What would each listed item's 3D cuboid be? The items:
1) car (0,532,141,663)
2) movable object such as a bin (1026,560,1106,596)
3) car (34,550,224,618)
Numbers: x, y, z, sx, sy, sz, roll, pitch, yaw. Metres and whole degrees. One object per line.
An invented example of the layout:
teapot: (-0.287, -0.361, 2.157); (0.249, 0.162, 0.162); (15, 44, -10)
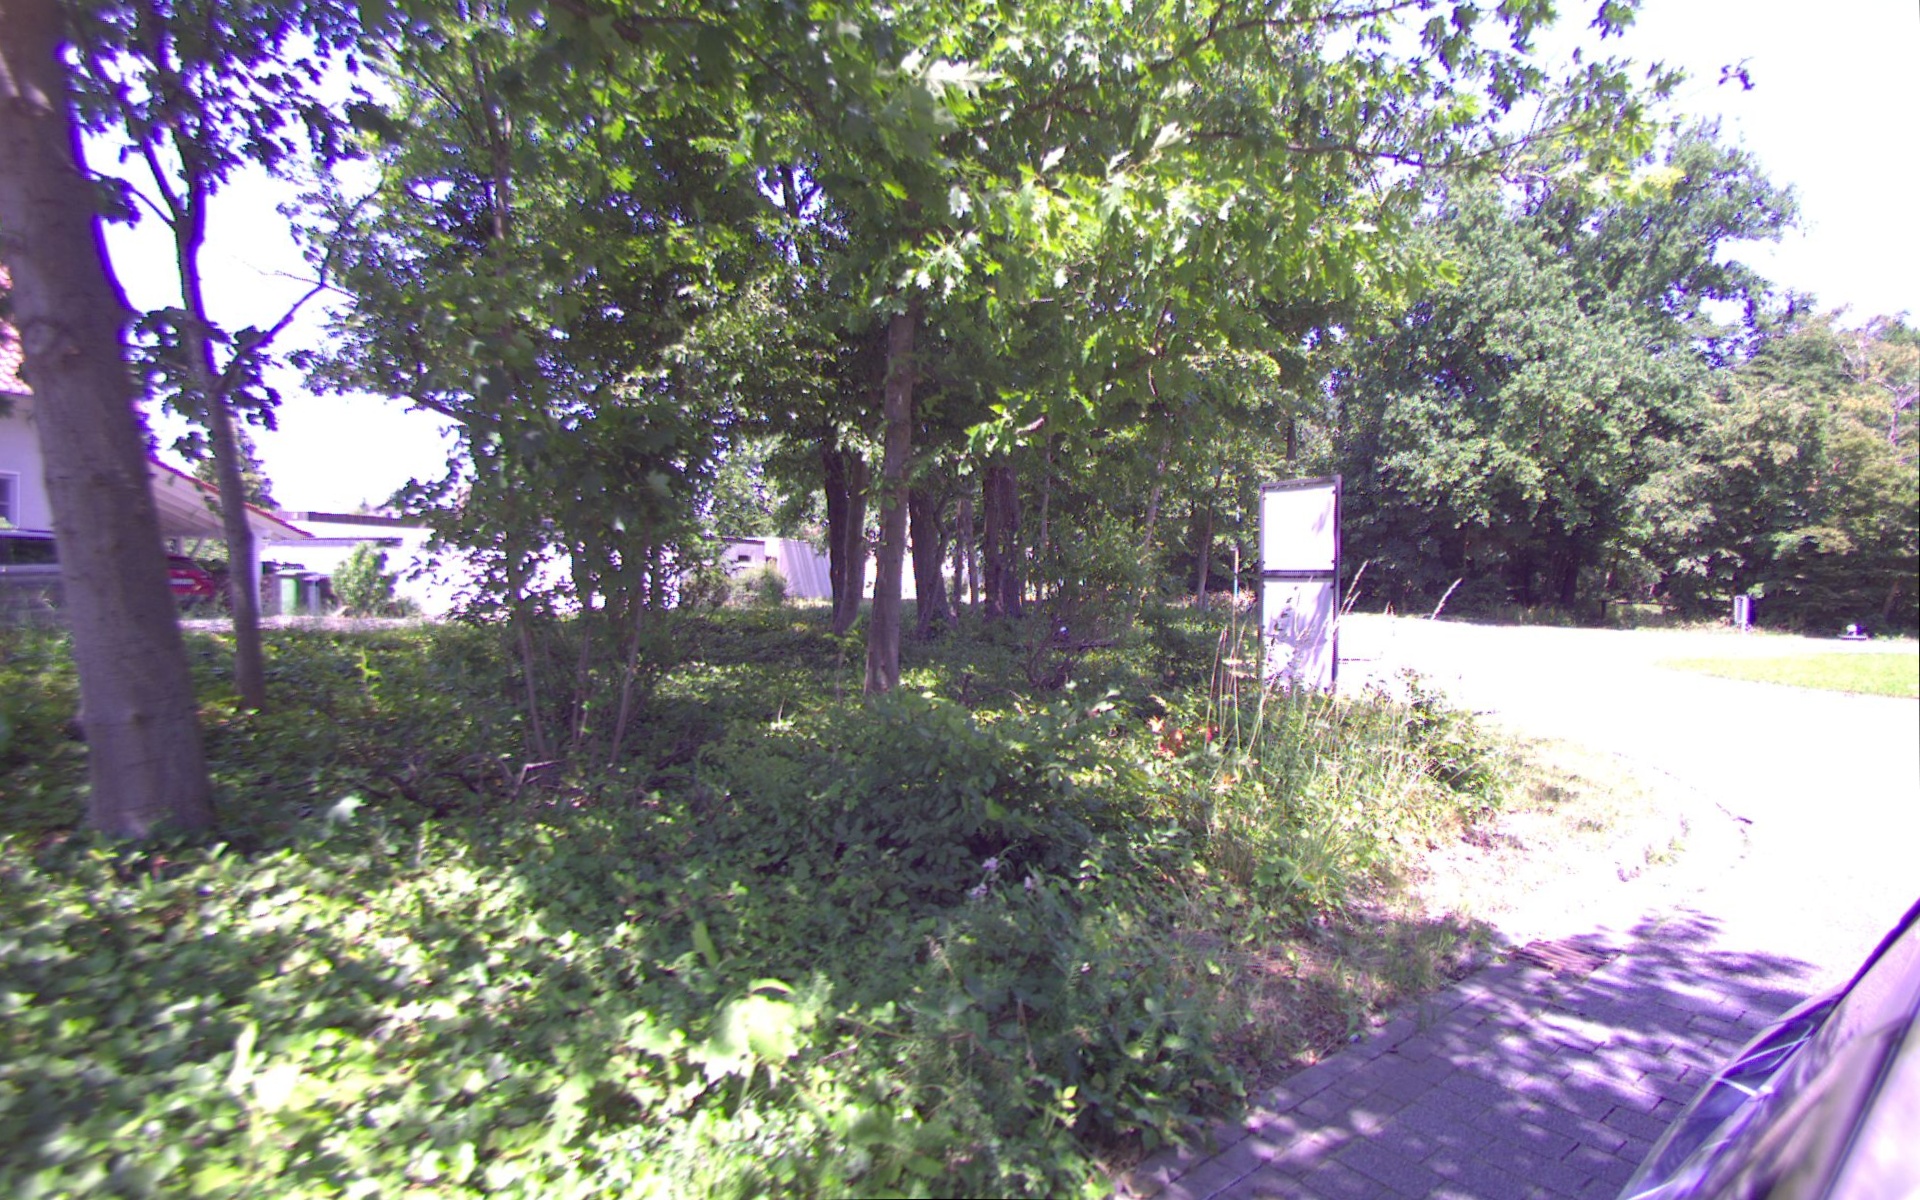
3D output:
car: (-13.514, -0.038, 13.299); (1.642, 1.726, 4.124); (1, 1, 15)
movable object such as a bin: (7.126, -1.522, 68.637); (2.476, 2.305, 5.239); (0, 1, -36)
car: (-18.591, -0.382, 22.652); (3.647, 1.402, 1.674); (2, 1, 20)
